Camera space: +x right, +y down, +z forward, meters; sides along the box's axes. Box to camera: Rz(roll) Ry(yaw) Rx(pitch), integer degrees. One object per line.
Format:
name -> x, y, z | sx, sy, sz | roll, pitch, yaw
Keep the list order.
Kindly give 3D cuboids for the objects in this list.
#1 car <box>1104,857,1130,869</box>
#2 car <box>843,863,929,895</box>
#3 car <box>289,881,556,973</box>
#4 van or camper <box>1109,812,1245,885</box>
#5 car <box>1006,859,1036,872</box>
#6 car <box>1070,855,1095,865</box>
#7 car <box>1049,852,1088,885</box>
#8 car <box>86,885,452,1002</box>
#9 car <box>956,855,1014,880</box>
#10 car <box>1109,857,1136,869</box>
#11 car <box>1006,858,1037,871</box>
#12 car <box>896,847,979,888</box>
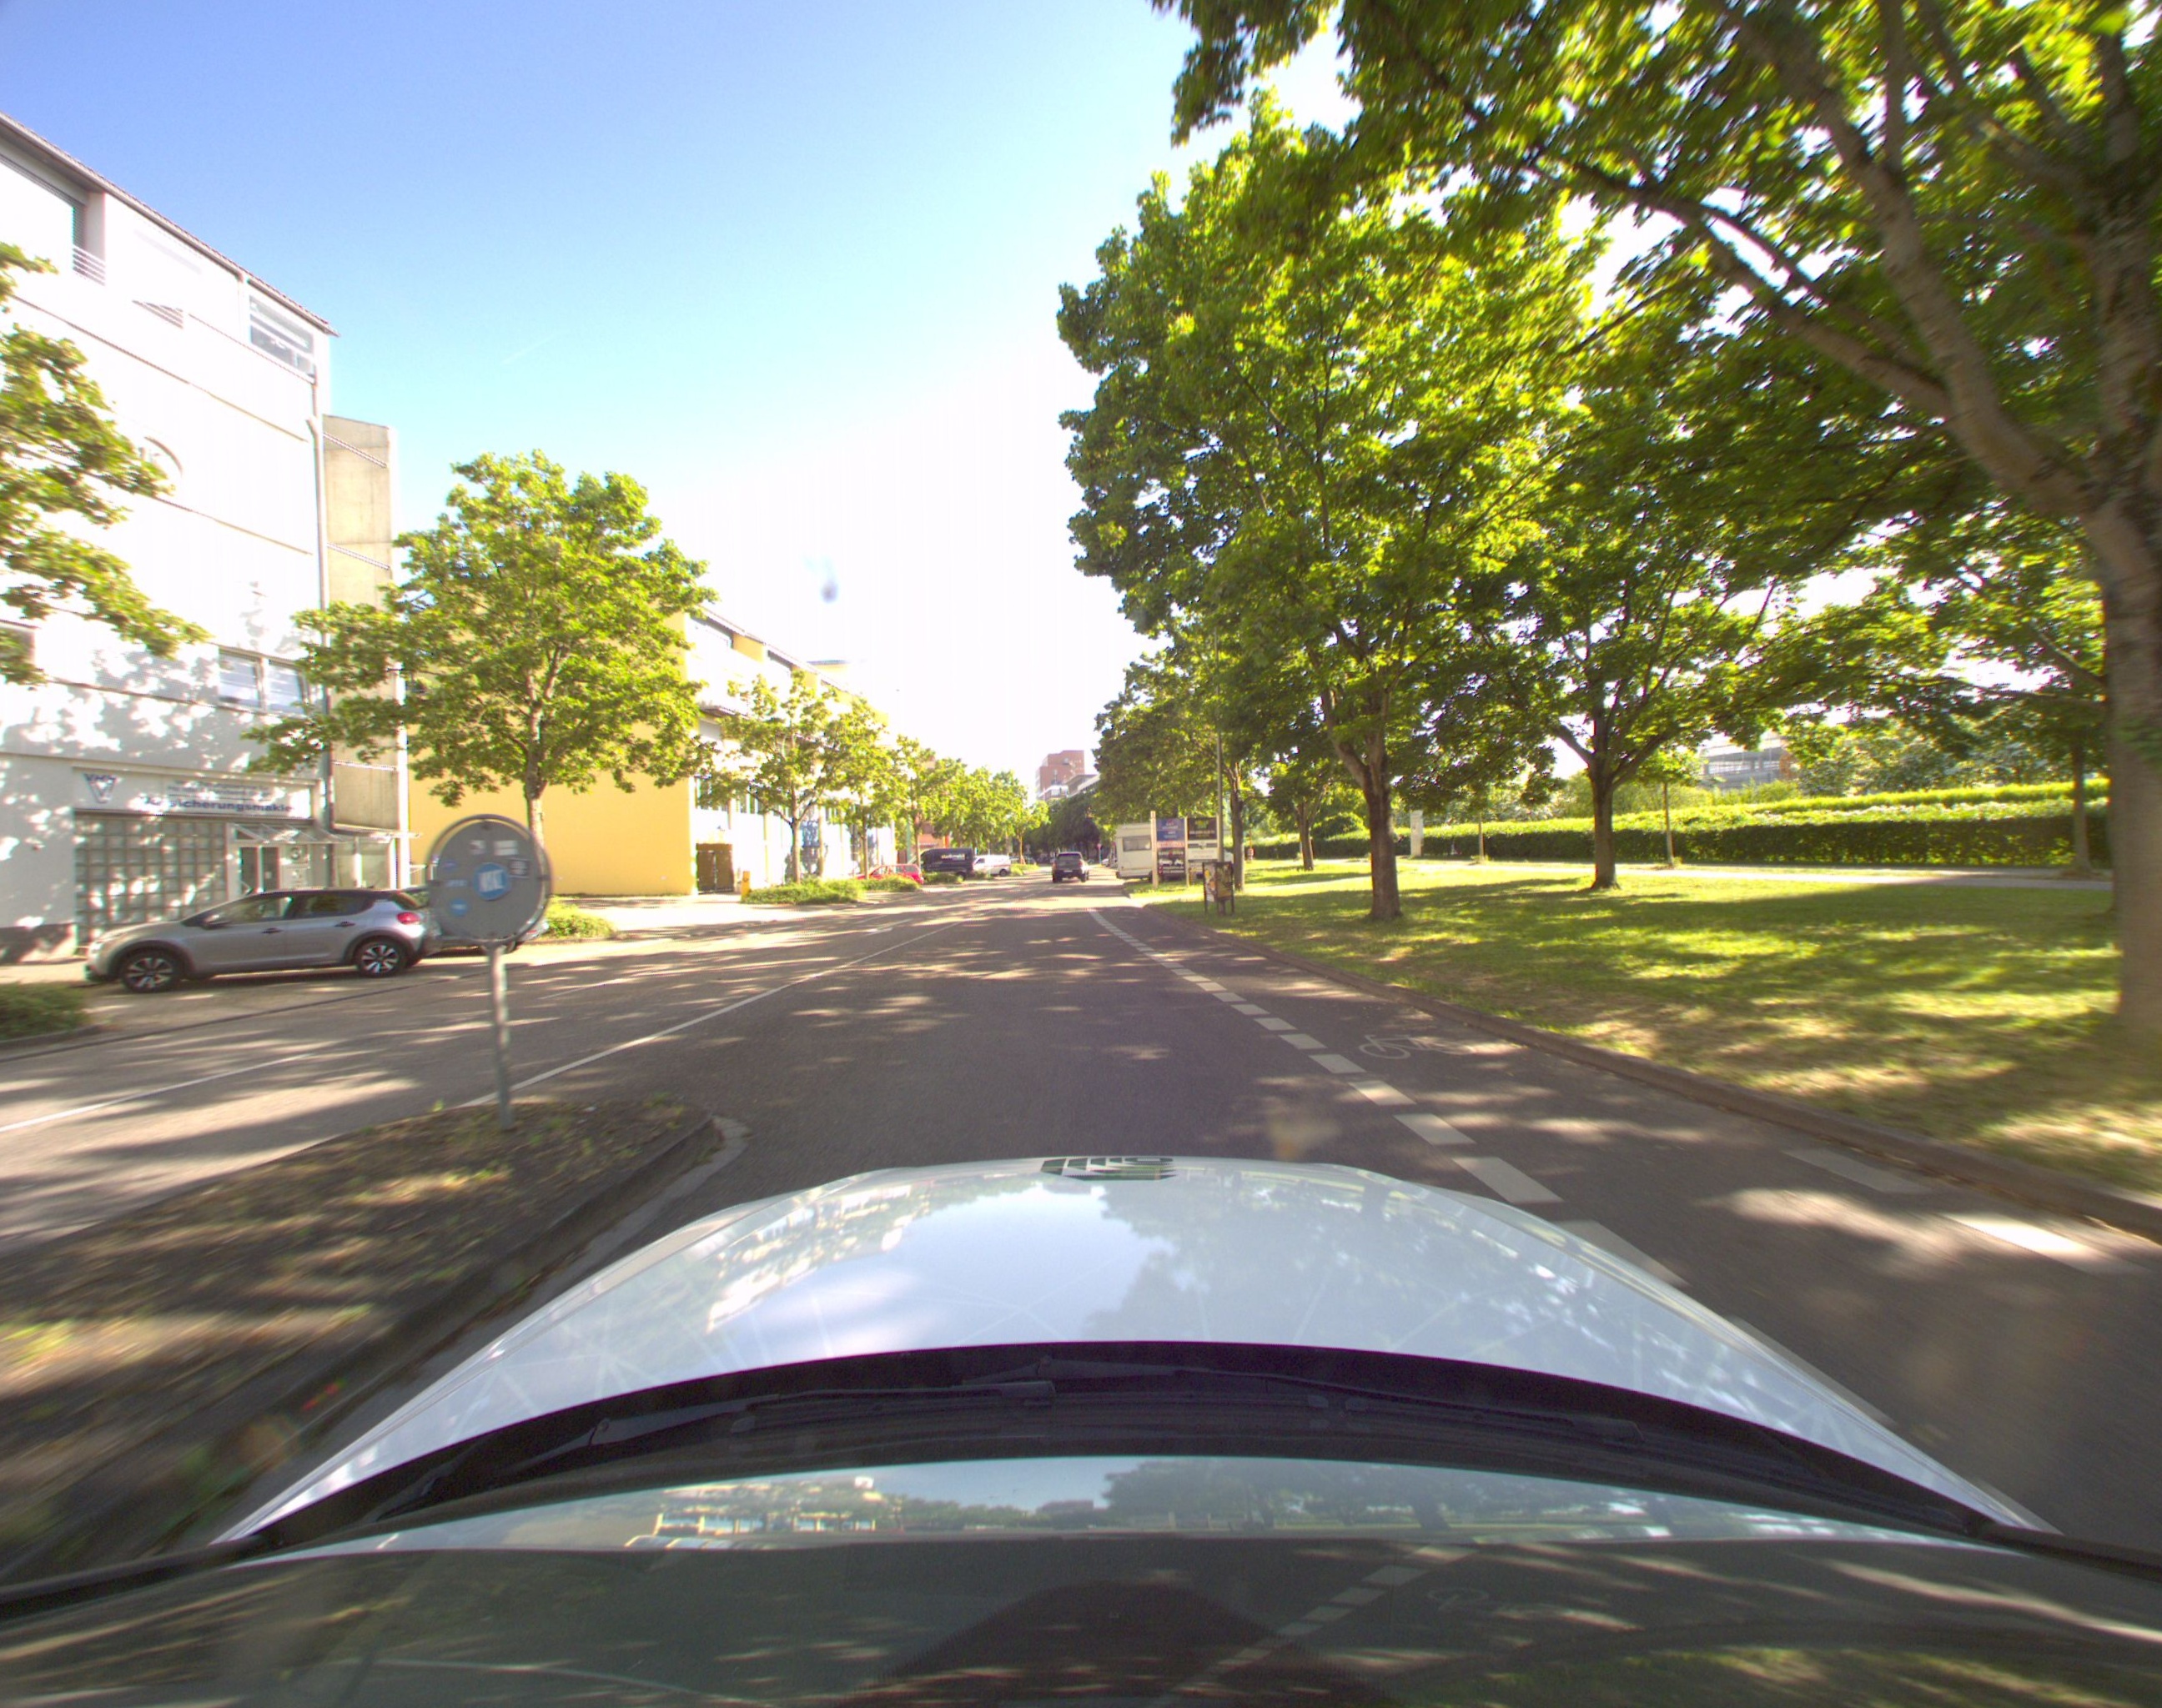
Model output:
car -> 4.685, 1.123, 106.395 | 3.232, 1.277, 1.517 | -4, 0, 1
car -> -11.011, 1.388, 45.931 | 4.425, 1.552, 1.907 | -2, 0, -22
car -> -13.022, 1.368, 16.445 | 3.897, 1.510, 1.811 | -1, -1, -29
van or camper -> 4.498, -0.251, 38.992 | 6.056, 2.928, 2.576 | -4, -1, 1
car -> -8.004, 1.506, 108.679 | 3.879, 1.365, 1.407 | -4, 0, -7
car -> 0.303, 0.978, 136.799 | 3.943, 1.397, 1.513 | -4, 0, -7
car -> -0.690, 0.825, 50.017 | 2.125, 1.835, 4.942 | -2, 0, 2
car -> -12.976, 1.342, 13.410 | 3.897, 1.510, 1.811 | -1, -1, -30
car -> -8.791, 1.217, 74.792 | 4.917, 2.083, 1.965 | -2, 0, -32
car -> 5.152, 1.104, 102.180 | 3.232, 1.277, 1.517 | -4, 0, 1
car -> -7.791, 1.383, 106.920 | 3.879, 1.365, 1.407 | -4, 0, -7
car -> -9.960, 0.924, 56.632 | 5.283, 2.545, 1.970 | -2, 0, -23
